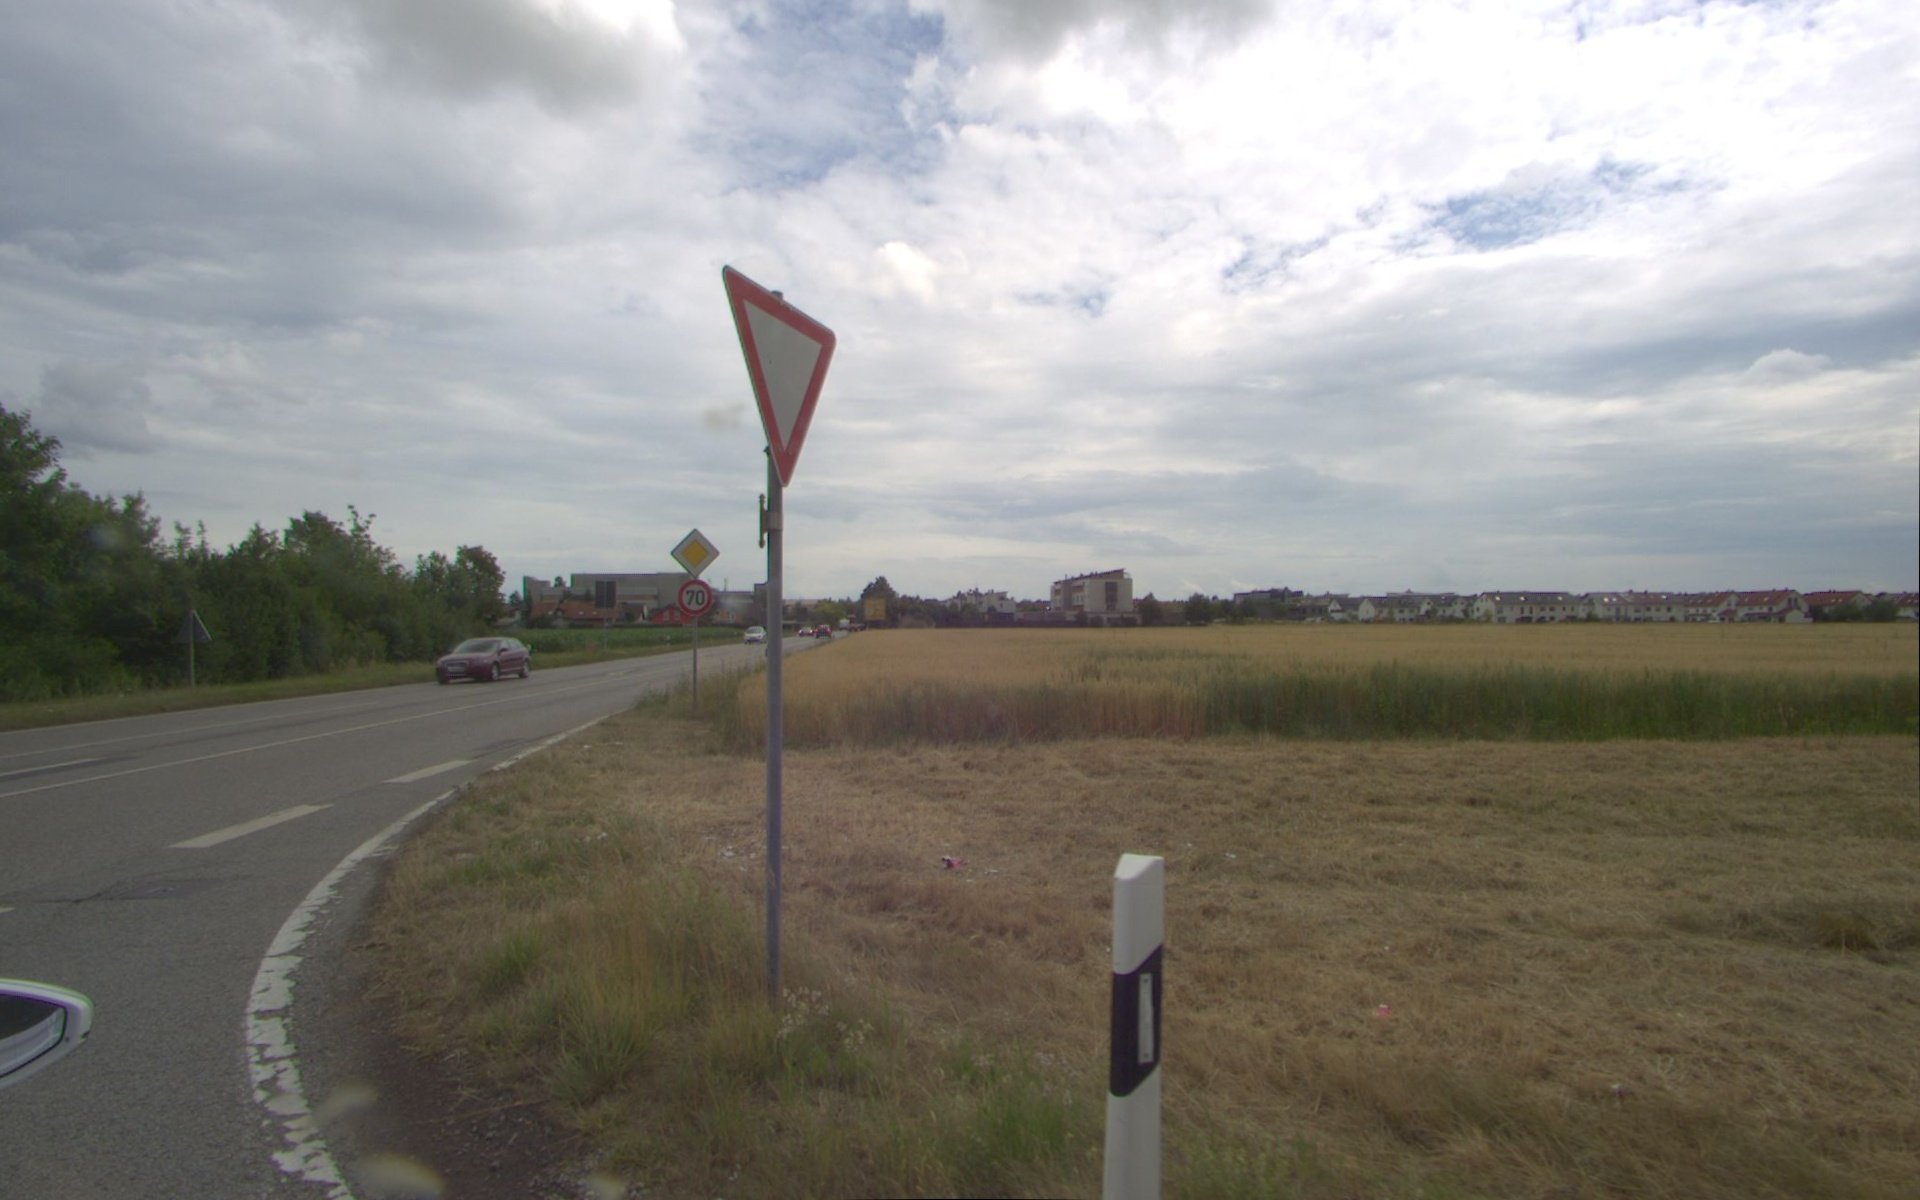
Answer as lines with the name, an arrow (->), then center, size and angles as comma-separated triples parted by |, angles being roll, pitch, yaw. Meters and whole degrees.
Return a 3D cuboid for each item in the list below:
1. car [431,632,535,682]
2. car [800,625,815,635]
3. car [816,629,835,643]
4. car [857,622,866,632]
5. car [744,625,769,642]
car -> -15.538, 1.806, 32.852 | 1.645, 1.420, 4.089 | -1, -1, -3
car -> -20.559, 4.041, 135.143 | 1.743, 1.257, 4.211 | -1, -1, -5
car -> -16.191, 4.280, 120.283 | 1.828, 1.586, 4.000 | 0, -1, -1
car -> -22.932, 6.275, 233.077 | 2.080, 2.040, 4.740 | 0, -1, -3
car -> -18.542, 3.004, 91.201 | 1.702, 1.450, 3.935 | -2, -1, -4
